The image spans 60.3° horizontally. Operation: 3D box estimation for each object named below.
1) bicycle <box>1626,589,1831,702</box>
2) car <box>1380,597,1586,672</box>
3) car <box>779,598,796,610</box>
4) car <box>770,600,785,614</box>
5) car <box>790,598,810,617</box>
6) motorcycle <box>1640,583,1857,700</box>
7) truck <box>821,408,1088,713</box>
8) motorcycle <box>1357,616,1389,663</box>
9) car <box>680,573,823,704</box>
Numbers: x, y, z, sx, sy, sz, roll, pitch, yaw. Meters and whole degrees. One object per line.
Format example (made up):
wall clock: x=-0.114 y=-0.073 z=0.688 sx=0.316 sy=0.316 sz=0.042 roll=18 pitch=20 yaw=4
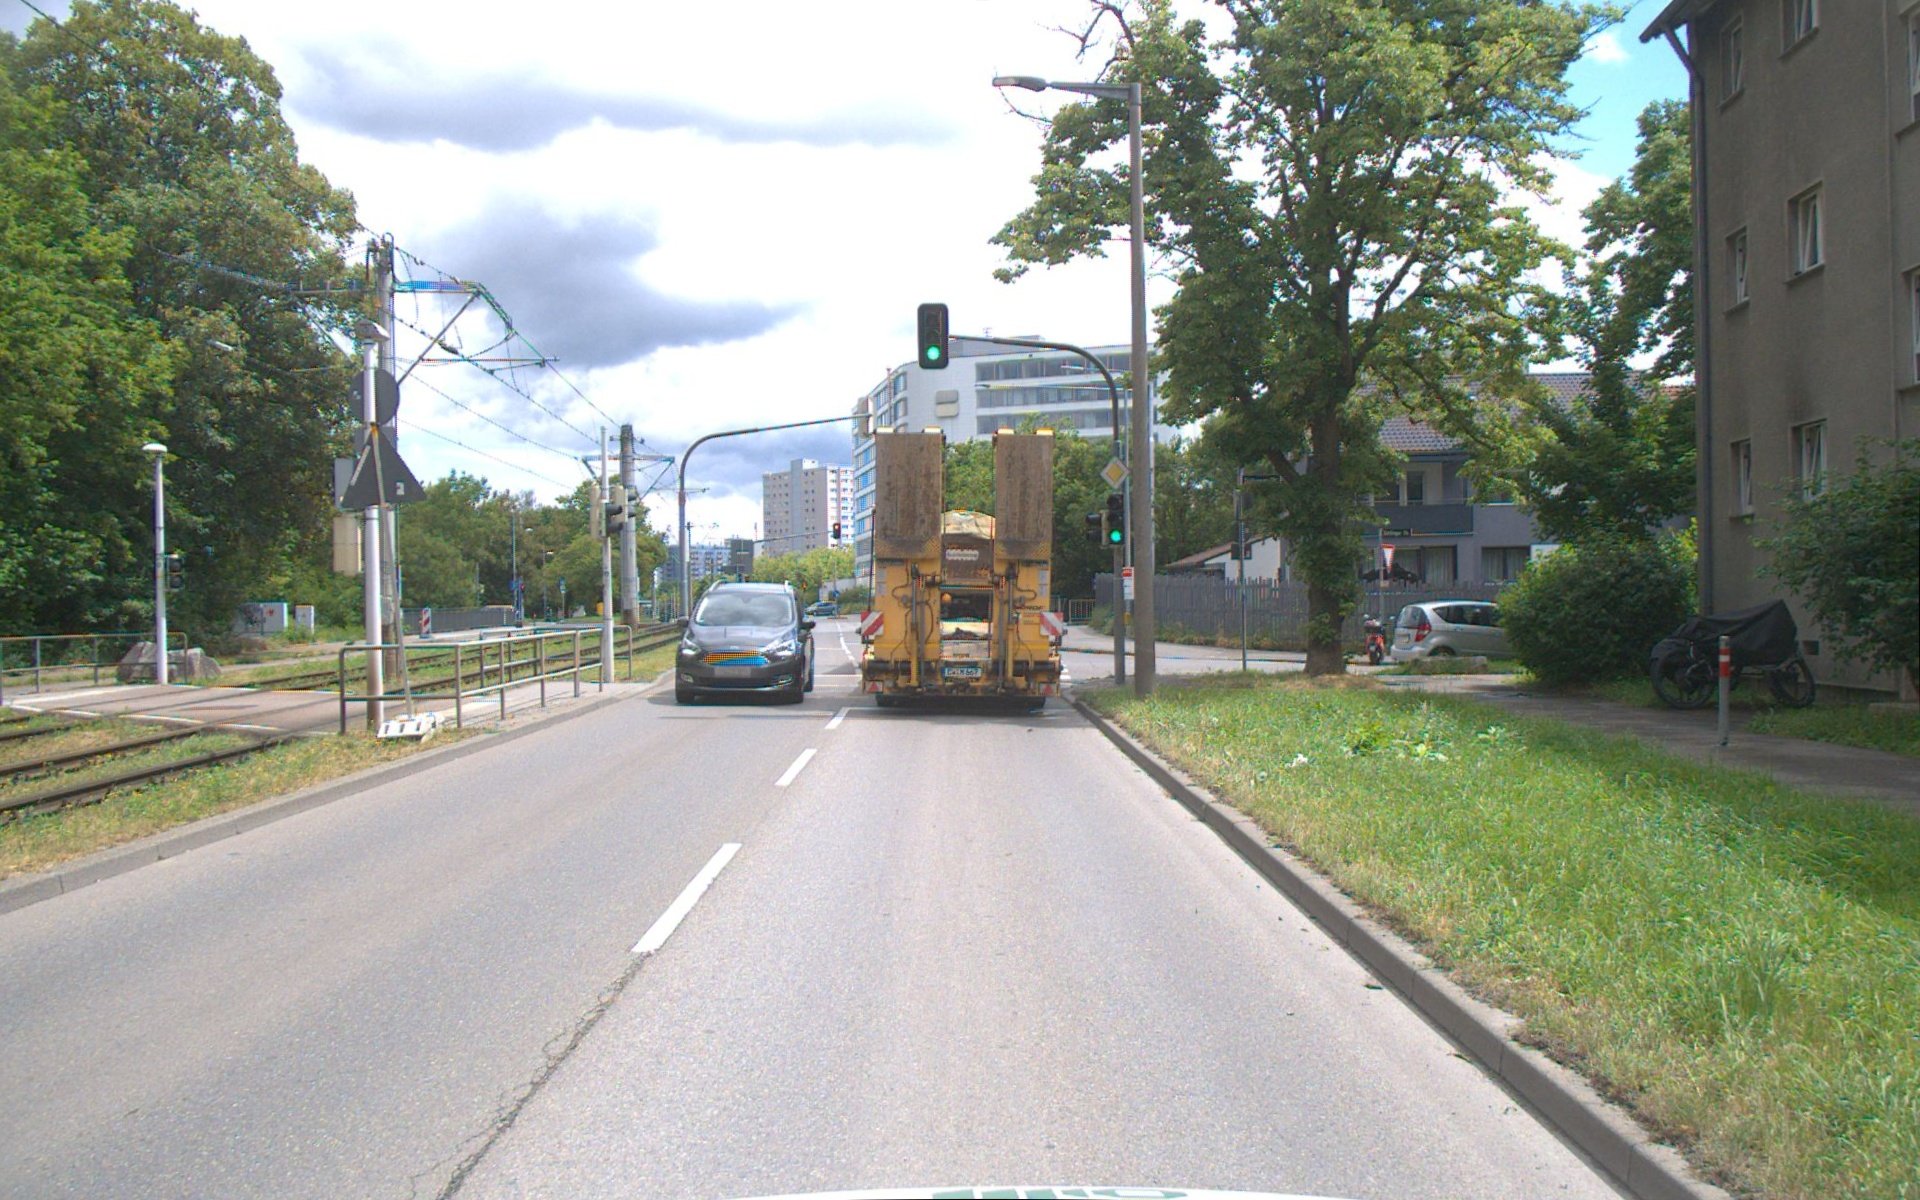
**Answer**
bicycle: x=9.253 y=0.548 z=19.987 sx=2.121 sy=1.305 sz=0.681 roll=-1 pitch=-1 yaw=8
car: x=11.540 y=0.743 z=36.600 sx=3.913 sy=1.581 sz=1.935 roll=0 pitch=0 yaw=-9
car: x=-20.653 y=0.464 z=198.256 sx=1.956 sy=1.445 sz=3.993 roll=1 pitch=0 yaw=-7
car: x=-20.188 y=0.763 z=182.803 sx=1.562 sy=1.553 sz=3.650 roll=-1 pitch=0 yaw=-6
car: x=-16.992 y=0.819 z=175.467 sx=1.956 sy=1.959 sz=3.993 roll=1 pitch=0 yaw=-7
motorcycle: x=9.157 y=0.483 z=19.279 sx=2.157 sy=1.305 sz=0.681 roll=-1 pitch=-1 yaw=8
truck: x=-0.288 y=-0.431 z=26.528 sx=3.249 sy=3.715 sz=12.556 roll=0 pitch=0 yaw=-2
motorcycle: x=10.599 y=1.002 z=42.398 sx=0.645 sy=1.169 sz=2.426 roll=1 pitch=-1 yaw=17
car: x=-2.945 y=0.508 z=24.079 sx=1.673 sy=1.705 sz=4.226 roll=1 pitch=0 yaw=-2
